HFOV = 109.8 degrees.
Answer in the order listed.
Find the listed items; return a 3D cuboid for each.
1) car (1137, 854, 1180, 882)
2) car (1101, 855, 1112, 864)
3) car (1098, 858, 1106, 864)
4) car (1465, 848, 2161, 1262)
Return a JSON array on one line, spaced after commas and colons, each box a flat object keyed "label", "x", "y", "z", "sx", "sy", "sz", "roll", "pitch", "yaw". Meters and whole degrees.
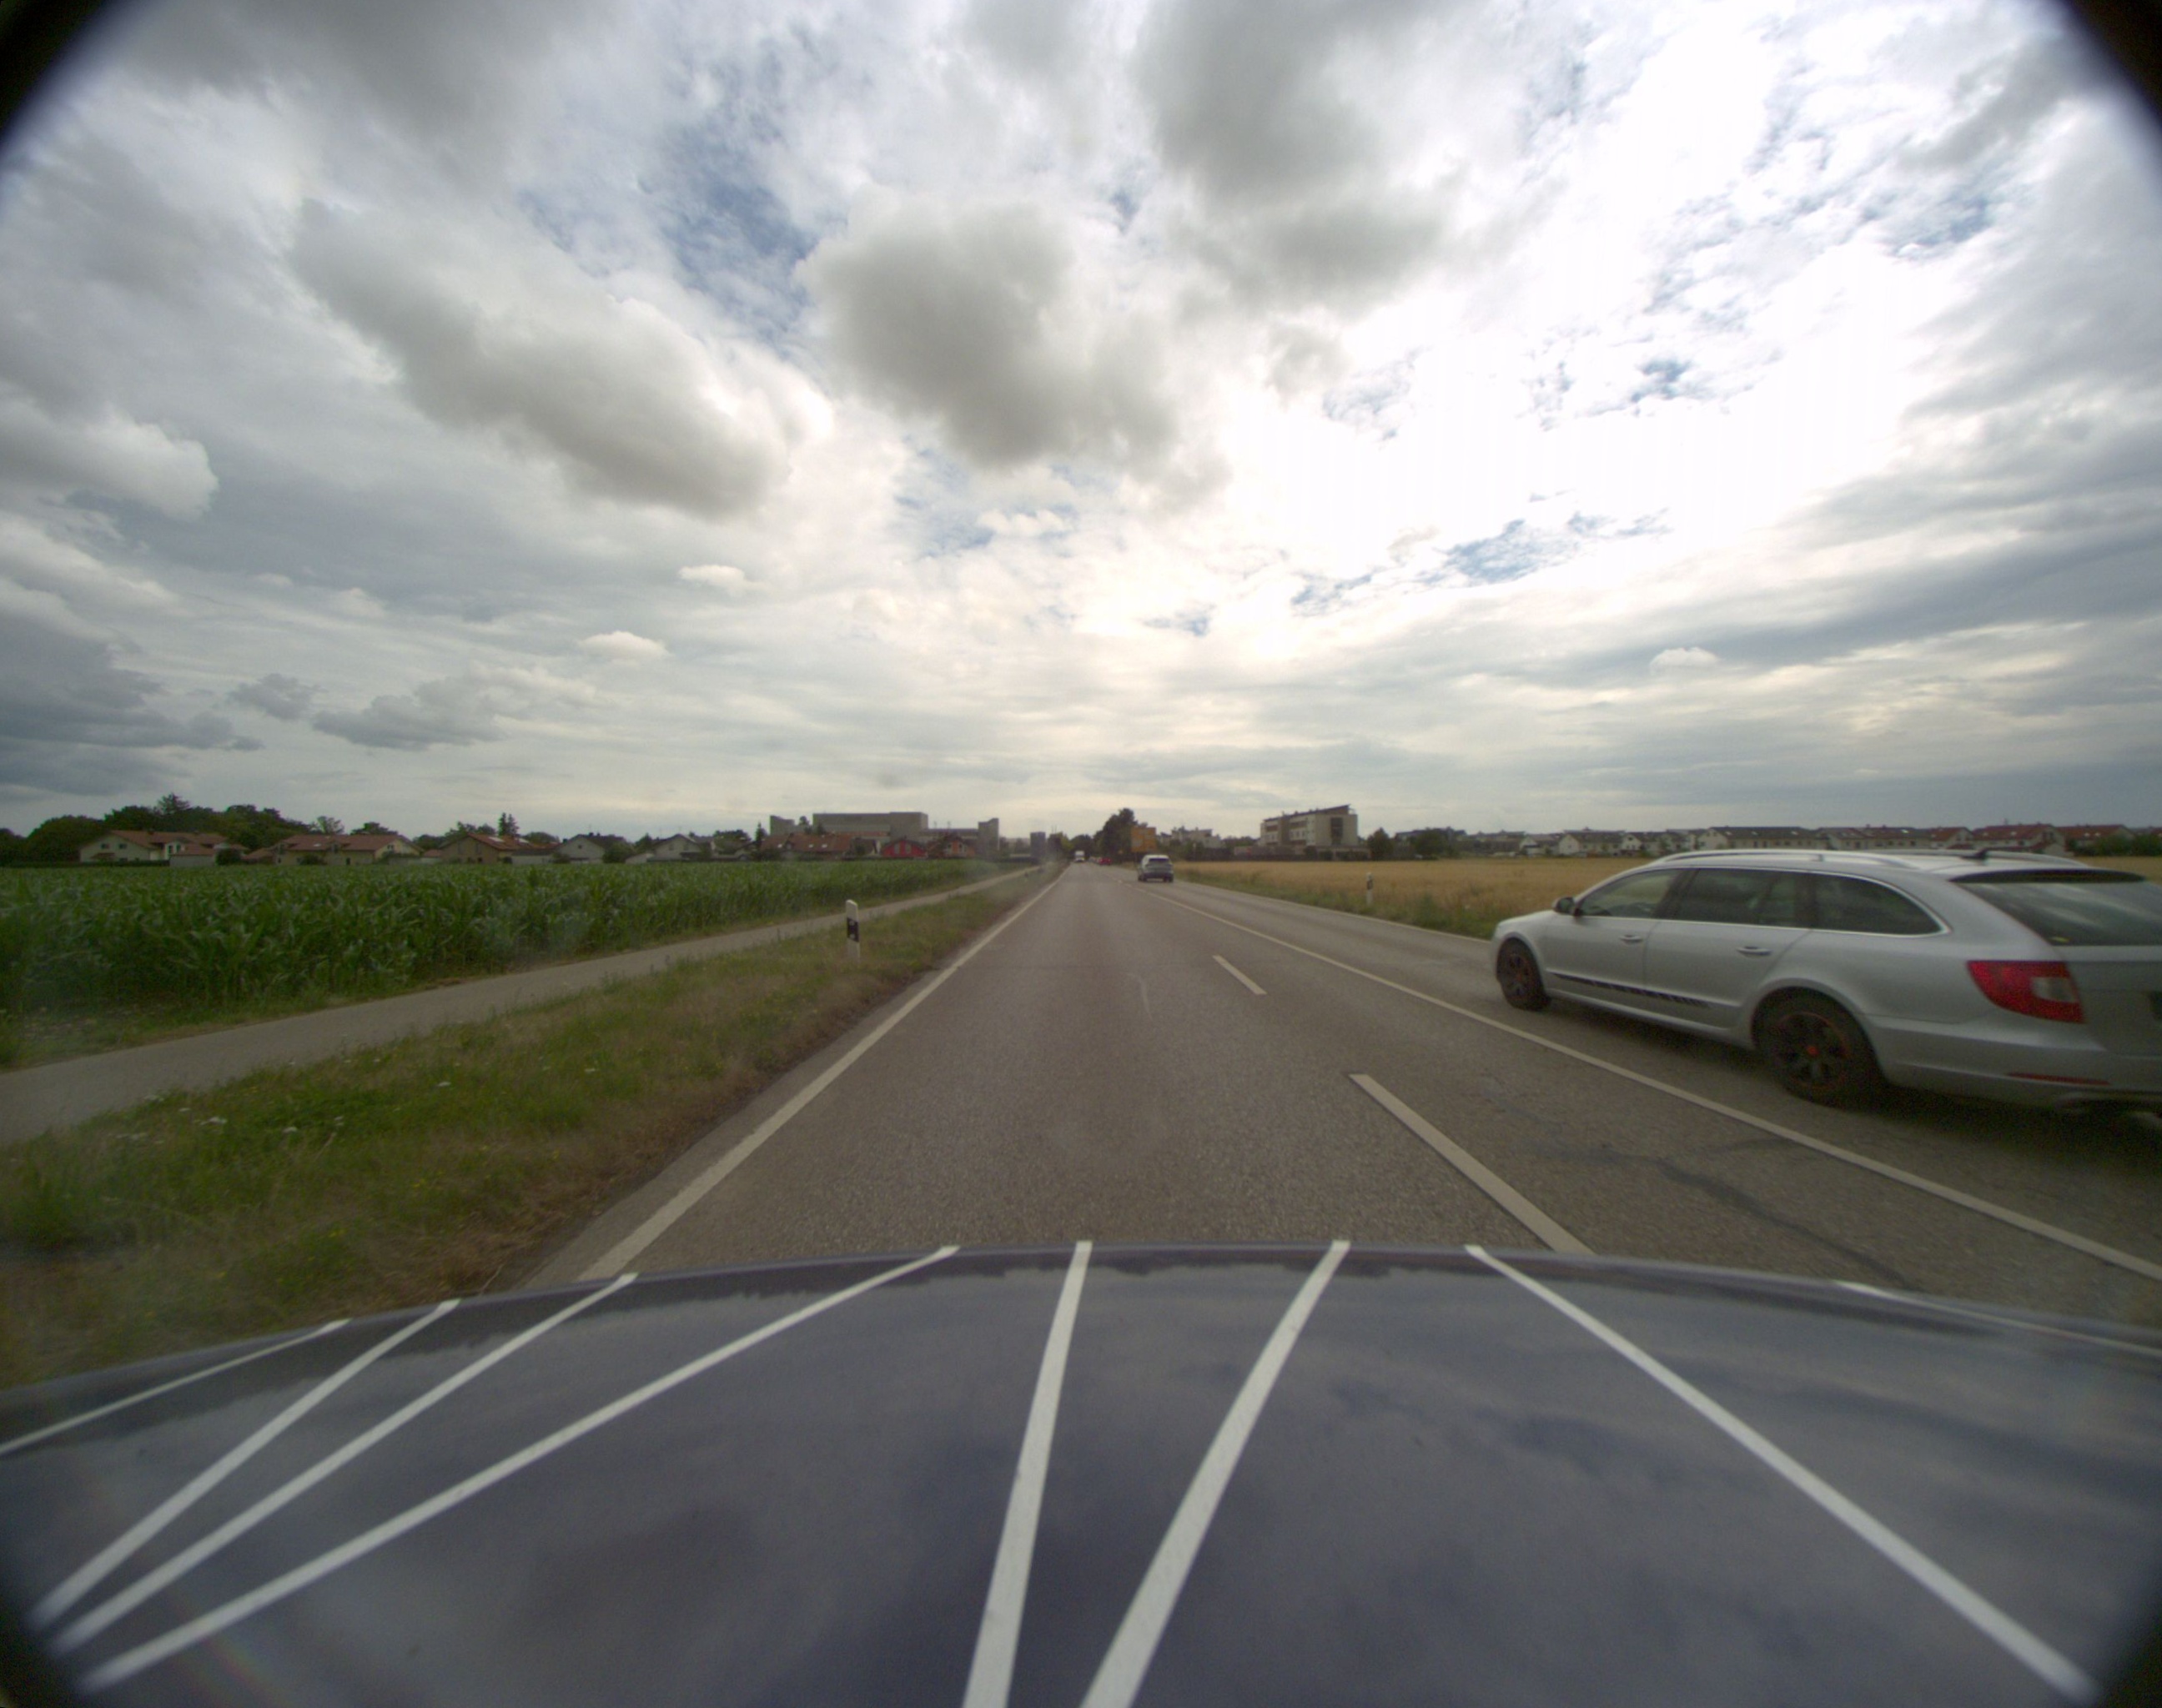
[{"label": "car", "x": 4.662, "y": 0.798, "z": 46.355, "sx": 2.070, "sy": 1.571, "sz": 4.765, "roll": 1, "pitch": 0, "yaw": 0}, {"label": "car", "x": 4.527, "y": 0.933, "z": 134.535, "sx": 1.716, "sy": 1.480, "sz": 4.608, "roll": 0, "pitch": 0, "yaw": 0}, {"label": "car", "x": 4.787, "y": 1.591, "z": 173.482, "sx": 1.811, "sy": 1.448, "sz": 4.113, "roll": 0, "pitch": 0, "yaw": 0}, {"label": "car", "x": 4.926, "y": 0.767, "z": 5.418, "sx": 1.771, "sy": 1.592, "sz": 4.929, "roll": 0, "pitch": 0, "yaw": -2}]
